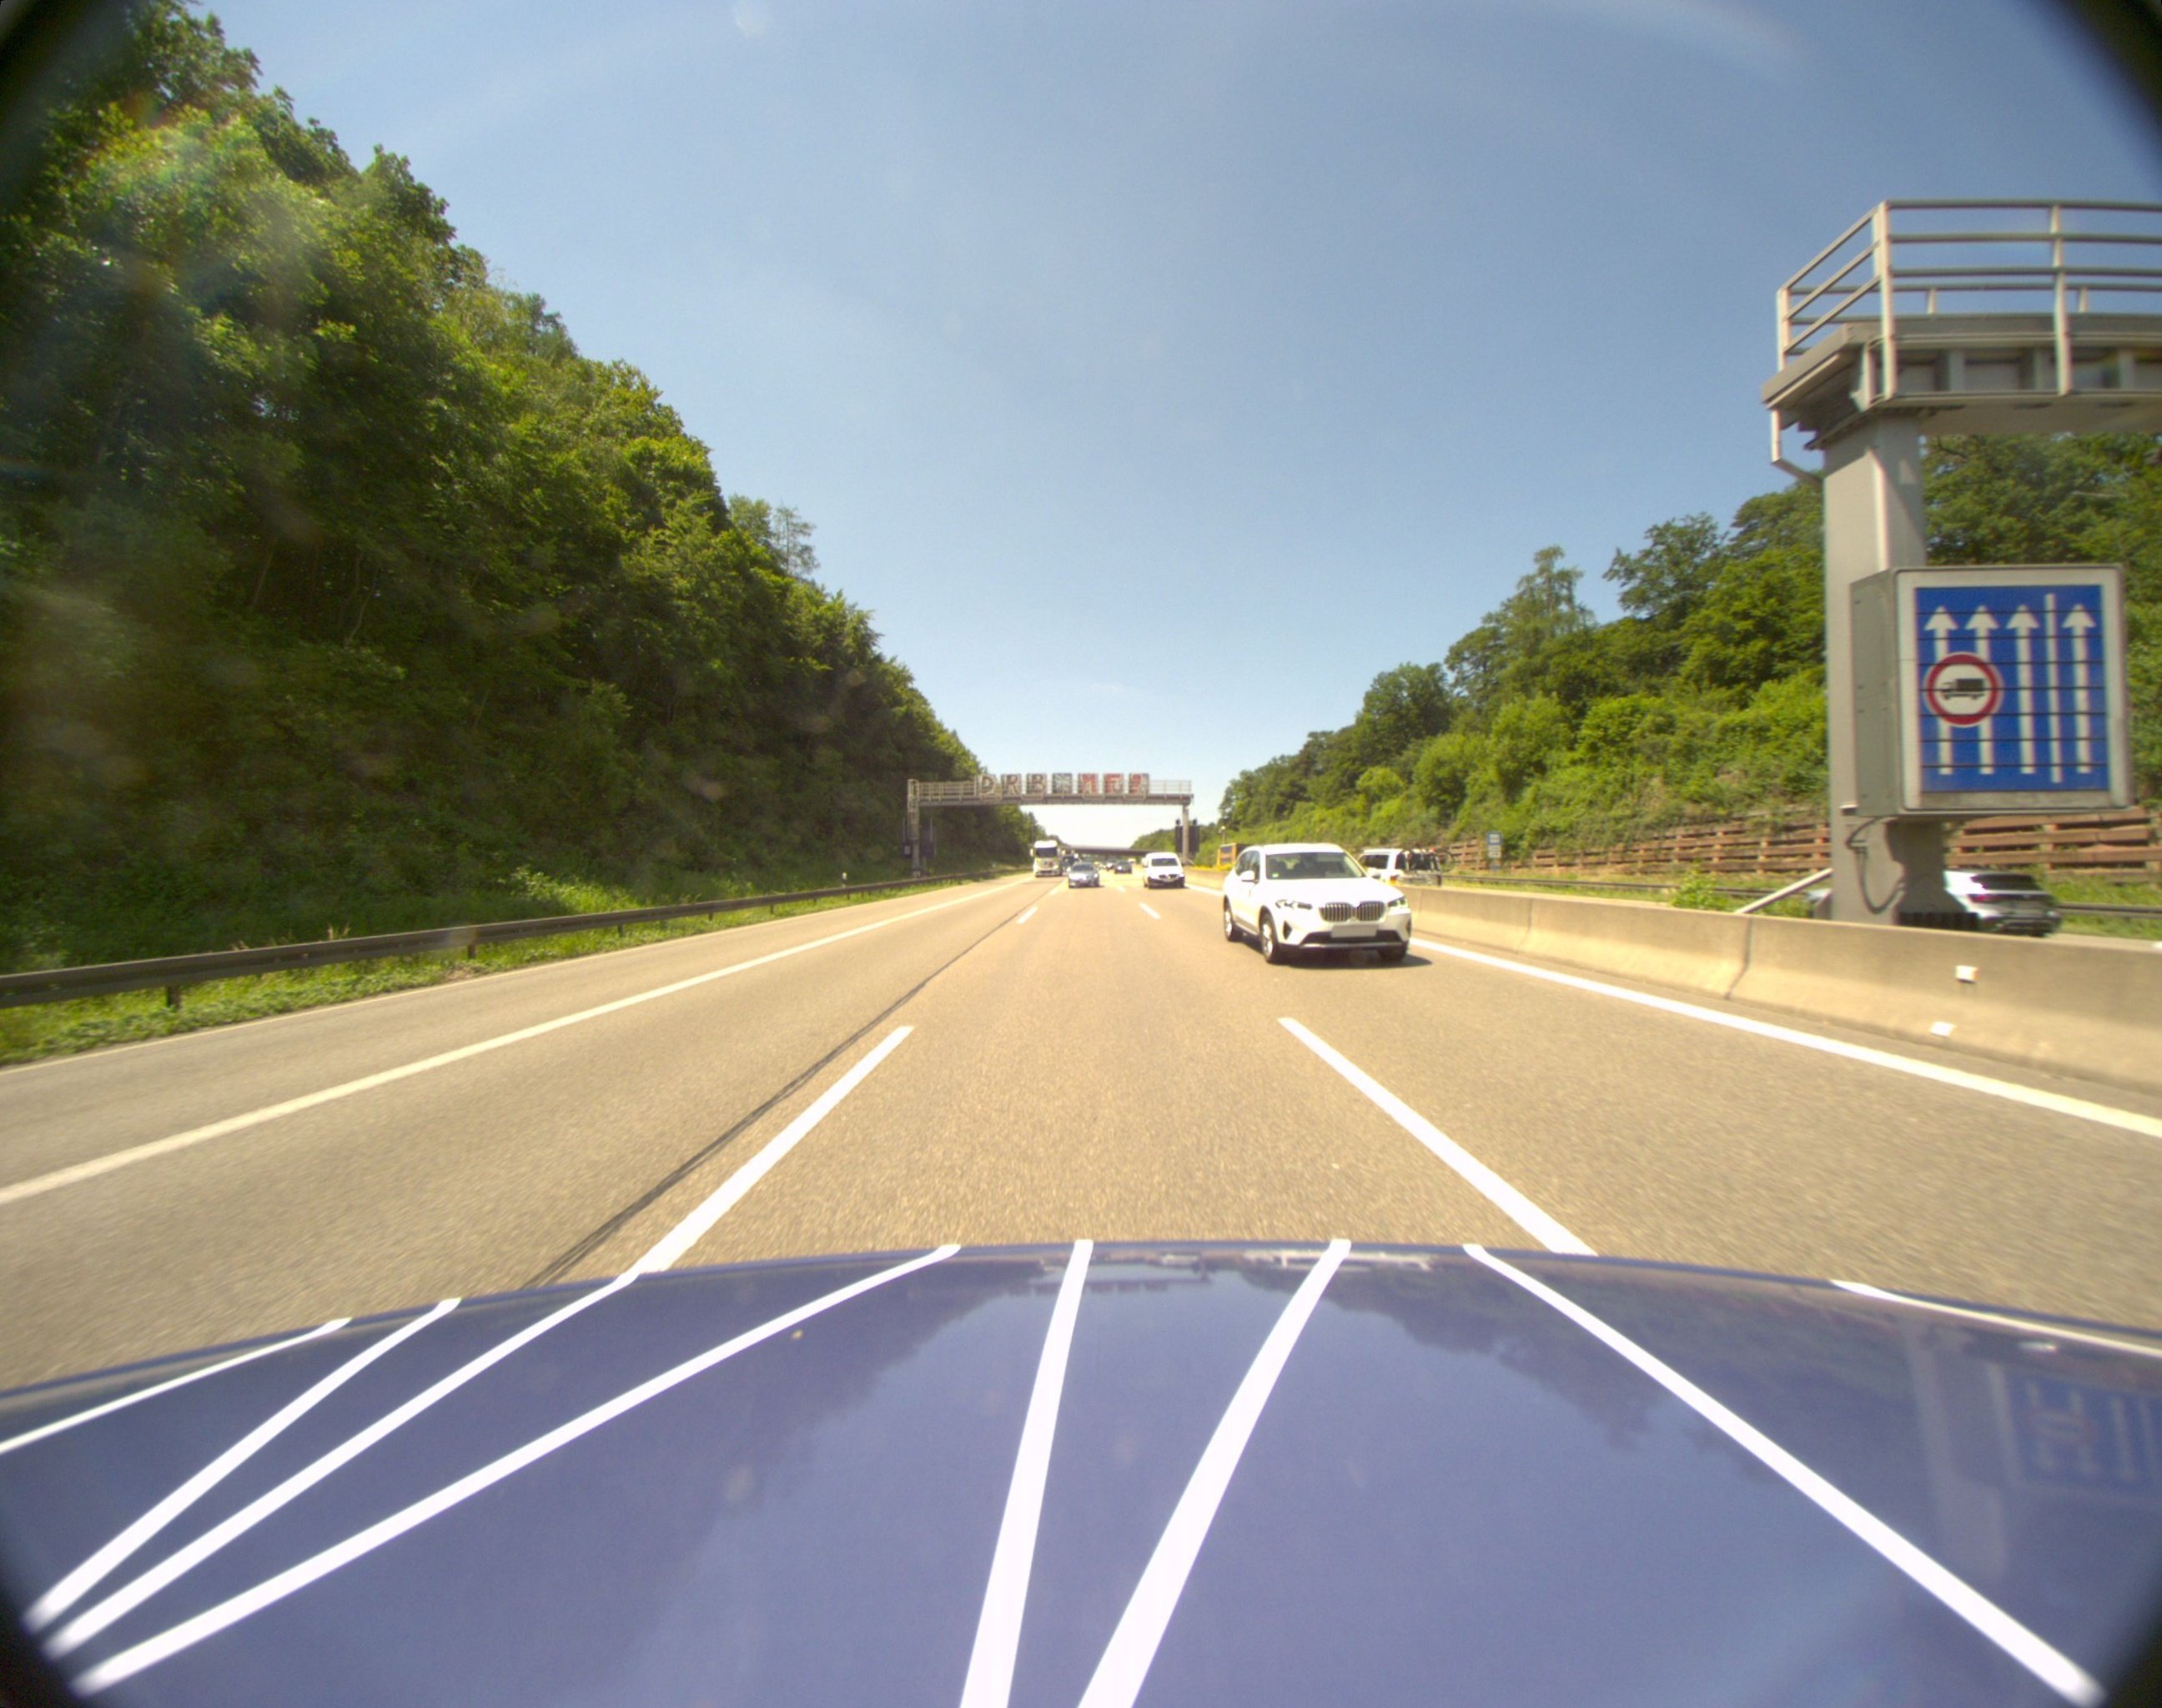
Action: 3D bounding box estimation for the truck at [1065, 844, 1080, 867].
[{"bbox_3d":[-1.639,0.355,154.462,2.627,4.364,13.087,-3,0,0],"label":"truck"}]

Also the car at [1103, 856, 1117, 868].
[{"bbox_3d":[4.008,1.122,106.246,1.770,1.504,4.000,-3,0,0],"label":"car"}]

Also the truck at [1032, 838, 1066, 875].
[{"bbox_3d":[-3.278,0.250,81.145,2.844,3.518,13.087,-3,0,0],"label":"truck"}]

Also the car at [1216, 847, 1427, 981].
[{"bbox_3d":[3.424,0.781,11.768,1.850,1.634,4.369,-2,-1,0],"label":"car"}]

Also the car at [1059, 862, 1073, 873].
[{"bbox_3d":[-2.114,1.881,108.144,1.770,1.504,4.000,-3,0,0],"label":"car"}]

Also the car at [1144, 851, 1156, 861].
[{"bbox_3d":[17.690,0.529,195.153,2.761,2.657,5.684,0,0,0],"label":"car"}]

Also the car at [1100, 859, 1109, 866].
[{"bbox_3d":[5.457,2.051,177.074,1.770,1.504,4.000,-3,0,0],"label":"car"}]

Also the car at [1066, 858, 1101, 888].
[{"bbox_3d":[0.202,1.071,44.565,1.843,1.518,4.502,-3,0,2],"label":"car"}]

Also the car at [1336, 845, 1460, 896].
[{"bbox_3d":[11.320,0.568,27.707,2.002,1.677,5.995,0,-1,0],"label":"car"}]

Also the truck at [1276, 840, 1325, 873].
[{"bbox_3d":[20.697,0.301,72.016,2.586,2.975,7.062,0,0,0],"label":"truck"}]

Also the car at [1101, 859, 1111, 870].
[{"bbox_3d":[4.724,2.002,143.751,1.924,1.849,4.001,-3,0,2],"label":"car"}]

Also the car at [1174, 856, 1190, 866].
[{"bbox_3d":[16.392,1.075,123.731,2.008,1.595,4.863,0,-1,0],"label":"car"}]

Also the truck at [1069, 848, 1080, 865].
[{"bbox_3d":[-1.721,0.704,215.653,2.627,4.364,13.087,-3,0,0],"label":"truck"}]

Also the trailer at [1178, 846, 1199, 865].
[{"bbox_3d":[24.696,0.383,175.822,2.985,4.077,13.994,1,0,1],"label":"trailer"}]

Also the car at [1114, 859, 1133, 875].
[{"bbox_3d":[4.512,1.360,81.022,1.770,1.504,4.725,-3,0,0],"label":"car"}]

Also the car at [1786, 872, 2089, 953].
[{"bbox_3d":[18.733,1.183,17.000,1.903,1.517,4.373,0,-1,1],"label":"car"}]

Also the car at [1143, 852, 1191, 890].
[{"bbox_3d":[4.346,0.825,39.016,1.998,1.764,4.502,-3,0,2],"label":"car"}]

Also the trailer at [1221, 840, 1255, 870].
[{"bbox_3d":[23.873,0.206,116.122,2.985,4.182,14.469,1,0,3],"label":"trailer"}]

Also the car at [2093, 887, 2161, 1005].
[{"bbox_3d":[14.920,1.175,7.514,1.966,1.486,5.887,0,-1,0],"label":"car"}]

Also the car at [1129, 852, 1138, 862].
[{"bbox_3d":[13.870,0.870,201.126,2.003,2.658,4.846,0,0,0],"label":"car"}]
